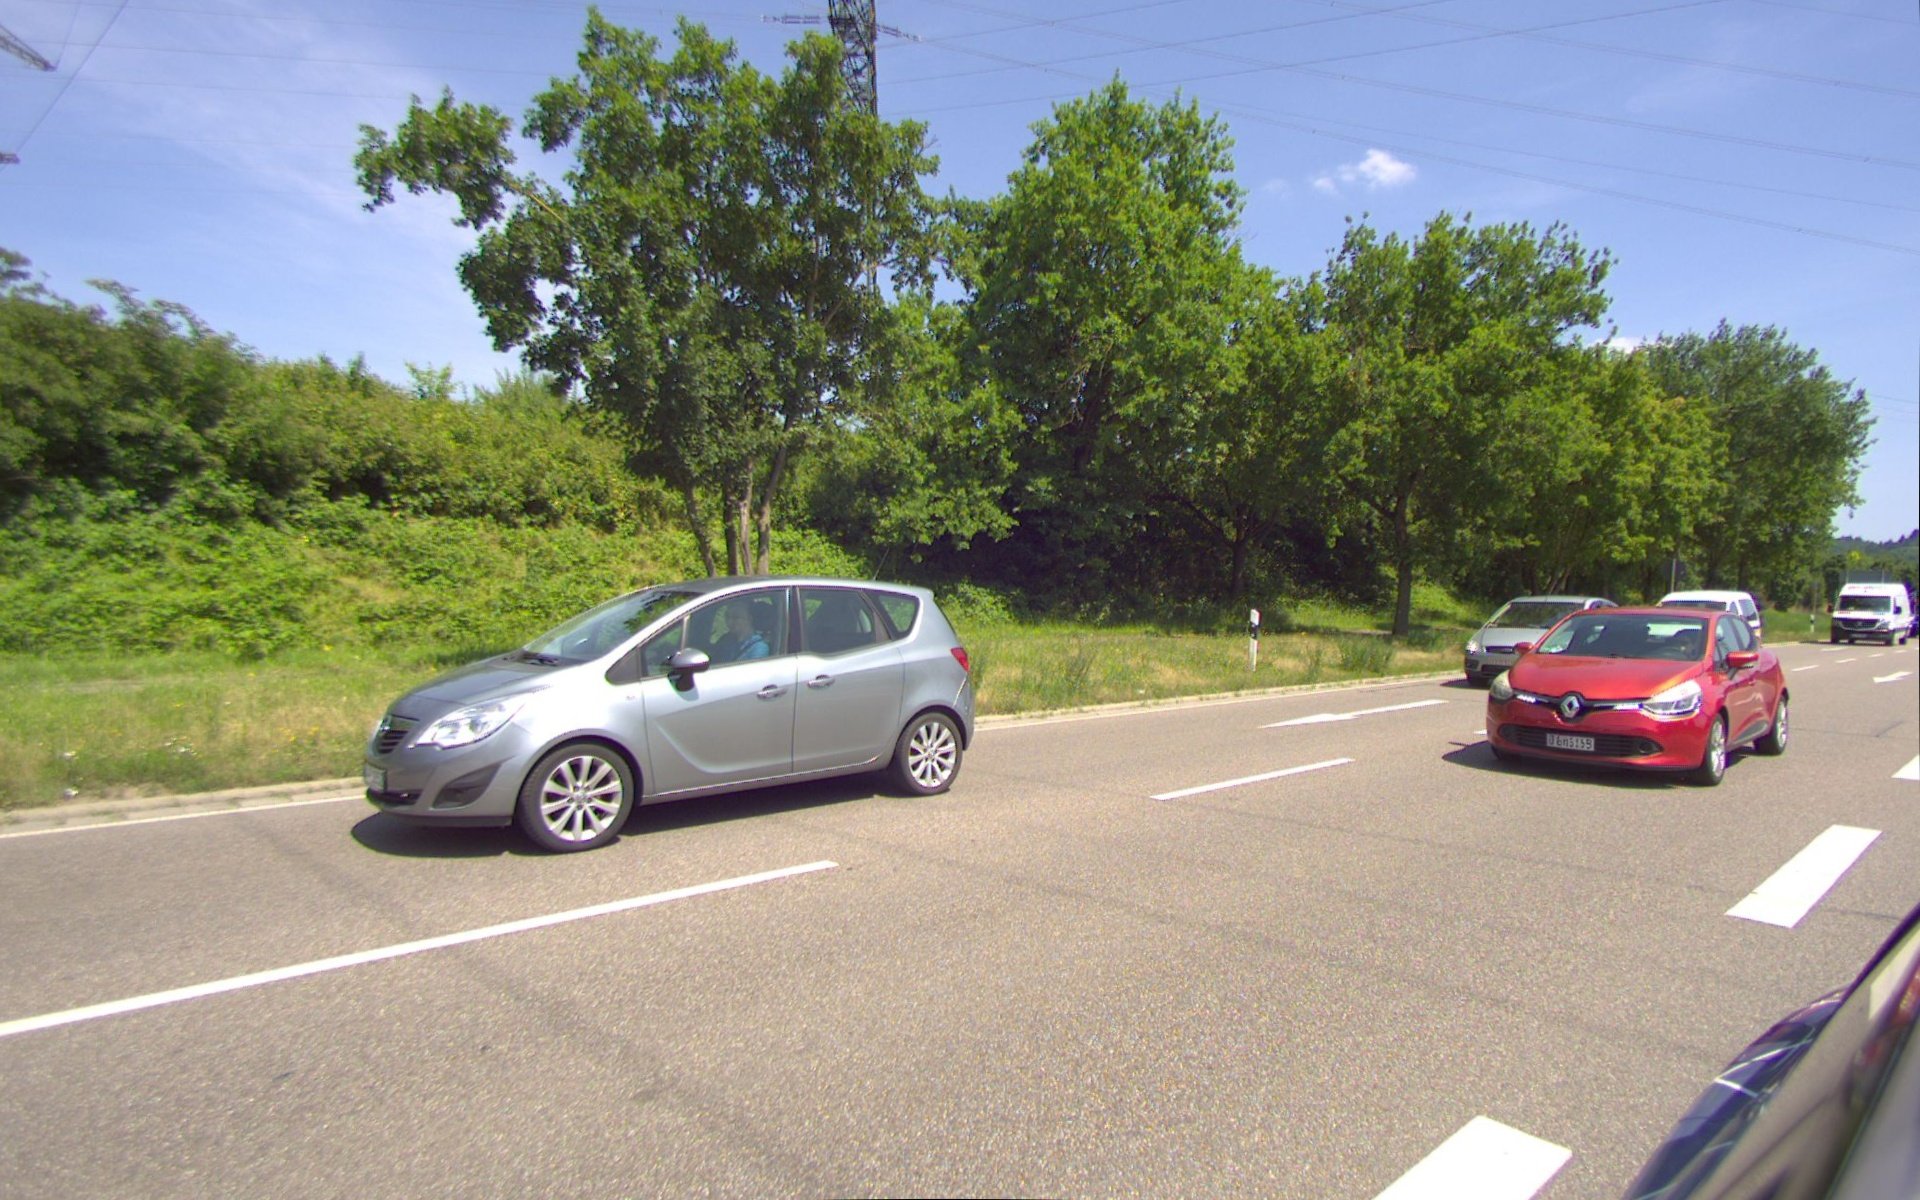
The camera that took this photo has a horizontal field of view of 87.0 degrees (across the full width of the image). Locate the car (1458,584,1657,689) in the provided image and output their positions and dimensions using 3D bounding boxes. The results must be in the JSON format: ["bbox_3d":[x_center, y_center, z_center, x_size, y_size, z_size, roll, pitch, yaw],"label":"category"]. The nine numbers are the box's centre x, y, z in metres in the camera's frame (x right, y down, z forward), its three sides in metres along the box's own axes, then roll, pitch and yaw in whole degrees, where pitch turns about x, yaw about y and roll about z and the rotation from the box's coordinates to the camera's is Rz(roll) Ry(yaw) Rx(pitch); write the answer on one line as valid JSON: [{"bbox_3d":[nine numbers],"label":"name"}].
[{"bbox_3d":[10.449,0.567,17.577,4.197,1.614,1.746,0,0,-41],"label":"car"}]

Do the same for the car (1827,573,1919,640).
[{"bbox_3d":[38.835,0.254,42.903,6.896,2.640,2.230,0,0,-41],"label":"car"}]

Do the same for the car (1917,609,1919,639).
[{"bbox_3d":[57.600,1.378,59.405,3.933,1.705,1.875,-1,1,-43],"label":"car"}]

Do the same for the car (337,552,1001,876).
[{"bbox_3d":[-1.816,0.558,7.067,4.092,1.615,1.768,0,1,-41],"label":"car"}]

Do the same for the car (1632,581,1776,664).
[{"bbox_3d":[18.102,0.502,24.529,4.950,1.823,1.807,0,0,-41],"label":"car"}]

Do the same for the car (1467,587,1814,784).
[{"bbox_3d":[6.549,0.645,9.580,3.993,1.480,1.746,0,0,-41],"label":"car"}]
